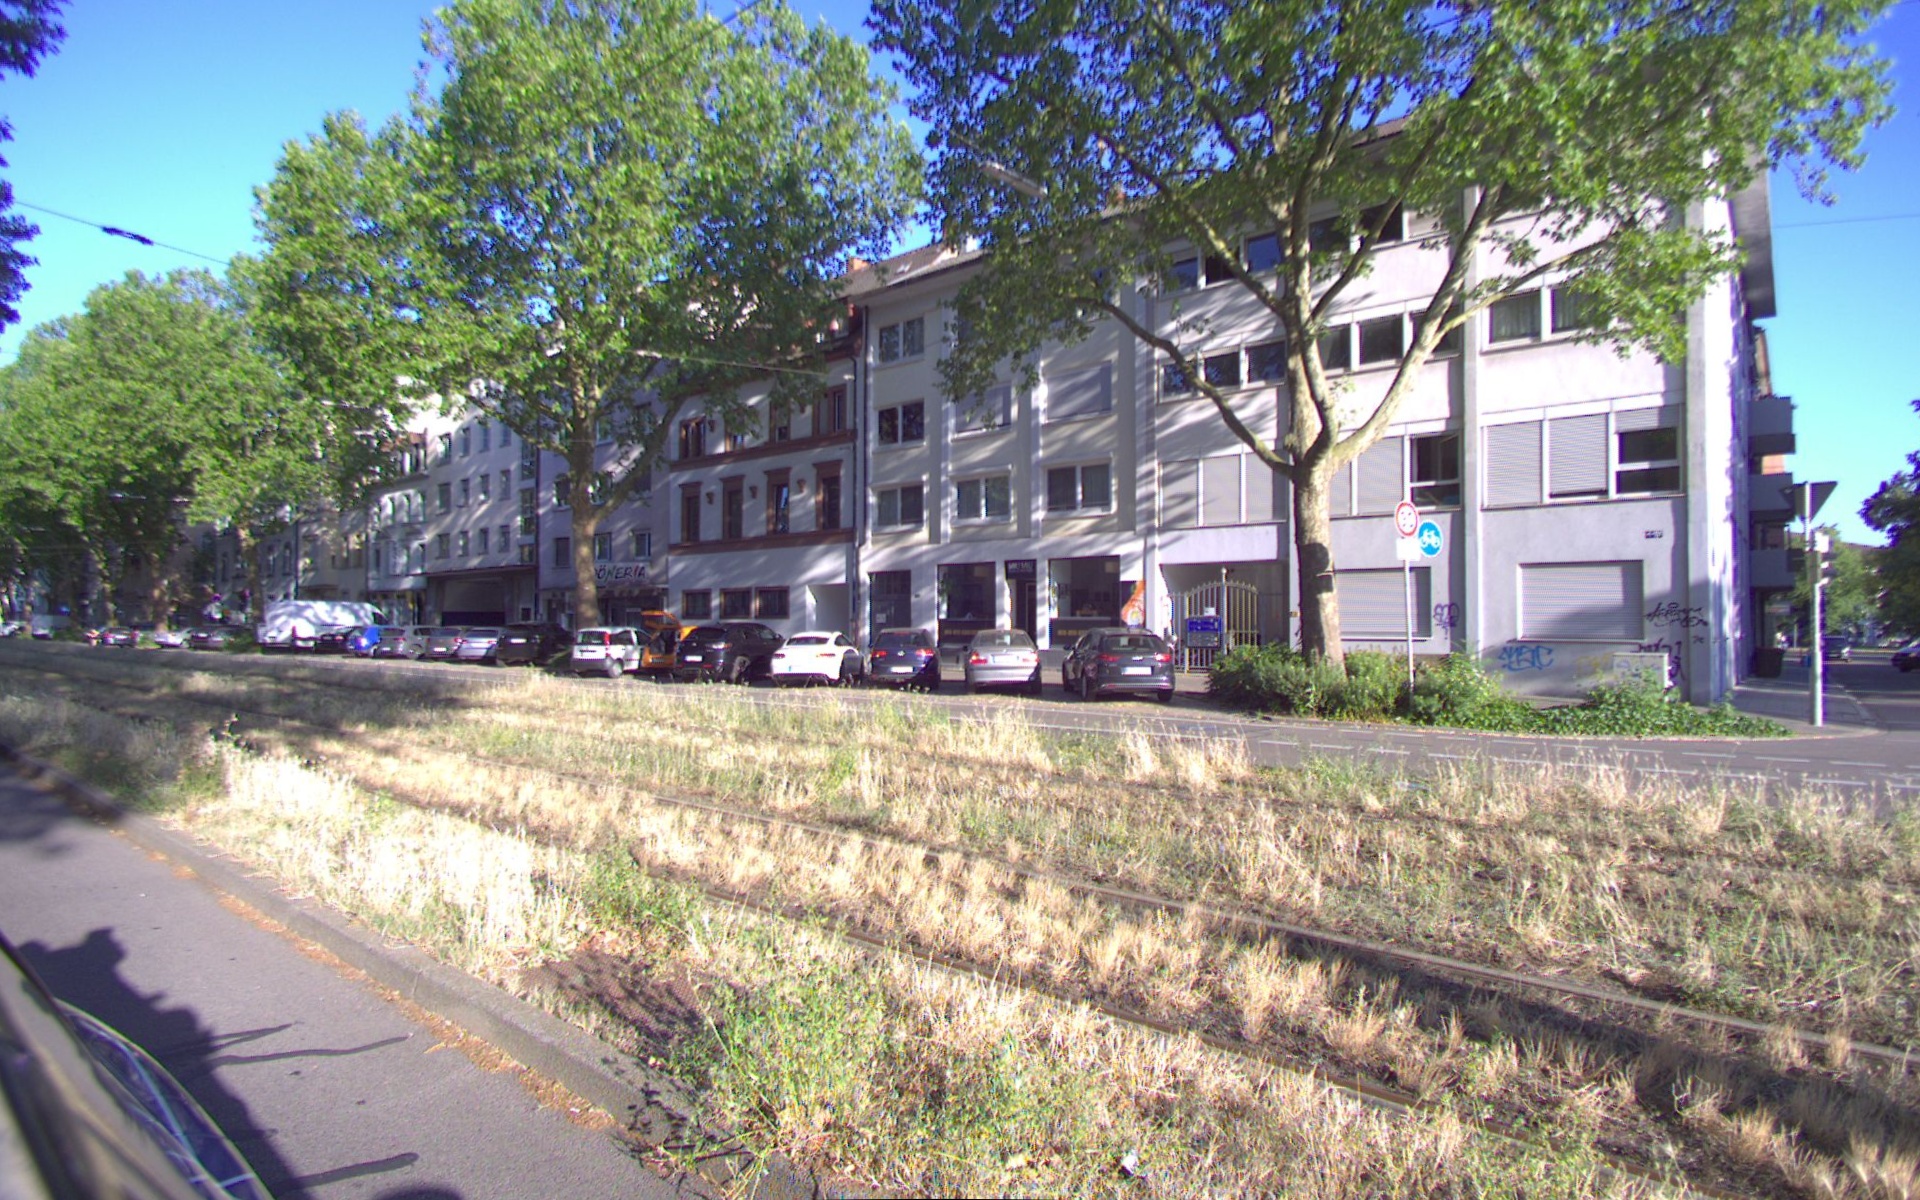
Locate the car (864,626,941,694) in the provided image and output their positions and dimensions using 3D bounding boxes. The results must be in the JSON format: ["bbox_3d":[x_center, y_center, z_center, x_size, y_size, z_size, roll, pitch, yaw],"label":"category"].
[{"bbox_3d":[-1.440,1.445,25.686,1.776,1.452,4.002,-1,0,-3],"label":"car"}]

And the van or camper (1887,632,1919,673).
[{"bbox_3d":[50.244,2.628,50.825,5.082,2.029,1.992,0,-2,12],"label":"van or camper"}]

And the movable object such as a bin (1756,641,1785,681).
[{"bbox_3d":[27.826,2.084,34.745,0.745,1.315,0.861,-1,-2,39],"label":"movable object such as a bin"}]

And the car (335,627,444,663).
[{"bbox_3d":[-25.993,2.011,46.219,1.854,1.431,3.951,-1,0,36],"label":"car"}]

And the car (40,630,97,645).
[{"bbox_3d":[-86.015,3.598,97.695,1.709,1.256,3.993,-1,1,6],"label":"car"}]

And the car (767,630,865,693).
[{"bbox_3d":[-3.693,1.559,26.691,1.700,1.343,4.200,-1,0,4],"label":"car"}]

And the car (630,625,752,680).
[{"bbox_3d":[-8.360,1.605,31.798,1.764,1.490,3.974,-1,0,20],"label":"car"}]

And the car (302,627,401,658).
[{"bbox_3d":[-30.744,2.151,51.259,1.984,1.502,3.975,-1,-2,18],"label":"car"}]

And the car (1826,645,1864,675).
[{"bbox_3d":[63.362,4.239,72.470,1.999,2.029,3.945,-1,-2,41],"label":"car"}]

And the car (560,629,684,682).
[{"bbox_3d":[-10.462,1.673,31.699,1.643,1.460,4.345,0,-1,14],"label":"car"}]

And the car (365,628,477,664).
[{"bbox_3d":[-23.601,1.975,44.440,1.941,1.503,3.964,-1,-2,27],"label":"car"}]

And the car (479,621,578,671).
[{"bbox_3d":[-15.681,1.629,37.022,1.972,1.673,4.000,-1,-1,-1],"label":"car"}]

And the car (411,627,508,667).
[{"bbox_3d":[-20.534,1.888,41.705,1.735,1.433,3.993,-1,0,6],"label":"car"}]

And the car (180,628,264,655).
[{"bbox_3d":[-45.529,2.585,62.552,1.912,1.605,4.155,0,-4,4],"label":"car"}]

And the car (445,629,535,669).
[{"bbox_3d":[-18.299,1.866,39.596,1.883,1.396,4.004,-1,-1,-5],"label":"car"}]

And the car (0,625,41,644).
[{"bbox_3d":[-107.379,3.952,115.161,1.971,2.029,4.002,-1,0,-2],"label":"car"}]

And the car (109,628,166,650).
[{"bbox_3d":[-63.508,3.010,78.212,1.703,1.666,4.008,0,-2,-10],"label":"car"}]

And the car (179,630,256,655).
[{"bbox_3d":[-47.728,2.761,65.180,1.803,1.545,3.994,0,-3,4],"label":"car"}]

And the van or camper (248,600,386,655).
[{"bbox_3d":[-33.110,1.451,52.376,2.162,2.666,5.929,-1,-2,19],"label":"van or camper"}]

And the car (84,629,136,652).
[{"bbox_3d":[-56.527,2.696,67.301,4.480,1.400,1.802,-1,-4,40],"label":"car"}]

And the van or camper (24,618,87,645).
[{"bbox_3d":[-88.321,3.063,98.898,2.171,2.418,4.364,-1,1,0],"label":"van or camper"}]

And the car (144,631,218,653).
[{"bbox_3d":[-51.785,2.805,67.347,1.806,1.400,3.670,0,-2,9],"label":"car"}]

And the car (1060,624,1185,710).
[{"bbox_3d":[3.296,1.322,21.292,1.791,1.490,4.002,-1,0,-2],"label":"car"}]

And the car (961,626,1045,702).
[{"bbox_3d":[0.901,1.408,23.281,1.698,1.452,4.000,-1,0,-1],"label":"car"}]

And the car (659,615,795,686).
[{"bbox_3d":[-6.458,1.447,28.609,1.975,1.800,4.343,1,-3,14],"label":"car"}]

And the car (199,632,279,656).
[{"bbox_3d":[-43.001,2.615,60.451,1.778,1.368,4.002,0,-3,3],"label":"car"}]
